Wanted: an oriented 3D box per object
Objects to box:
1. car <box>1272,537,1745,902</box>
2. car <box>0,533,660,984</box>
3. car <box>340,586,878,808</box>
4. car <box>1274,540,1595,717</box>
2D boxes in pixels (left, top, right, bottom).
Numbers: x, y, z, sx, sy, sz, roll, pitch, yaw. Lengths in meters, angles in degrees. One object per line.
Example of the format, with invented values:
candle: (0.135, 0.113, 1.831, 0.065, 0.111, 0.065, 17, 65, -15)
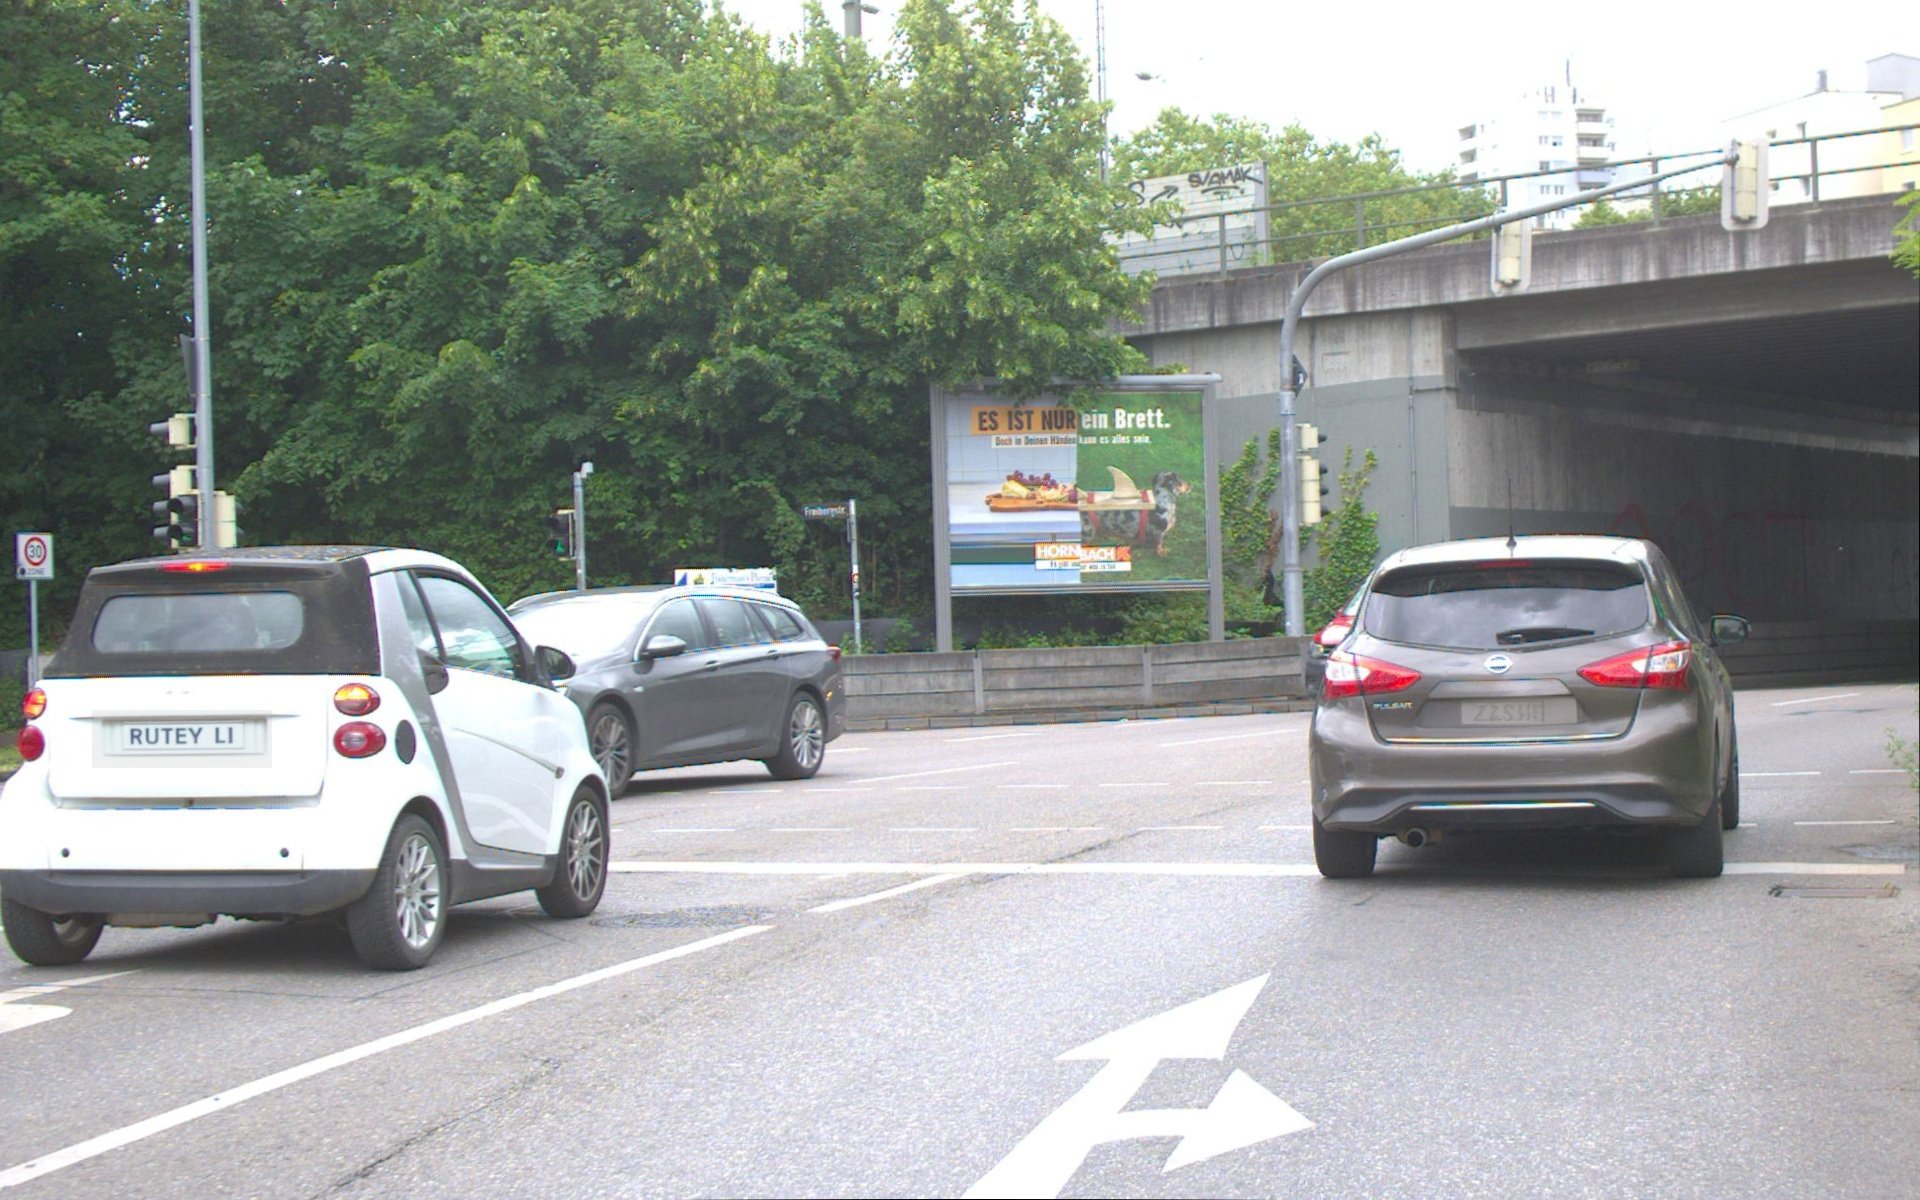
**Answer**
car: (2.721, 0.477, 16.312, 1.846, 1.488, 3.998, -2, 1, 14)
car: (-2.429, 0.529, 13.585, 1.576, 1.552, 3.015, 1, 1, 14)
car: (-2.410, 0.639, 24.838, 1.767, 1.415, 4.415, -1, 0, 26)
car: (5.367, 0.279, 38.363, 1.691, 1.819, 4.717, -2, 0, 33)
